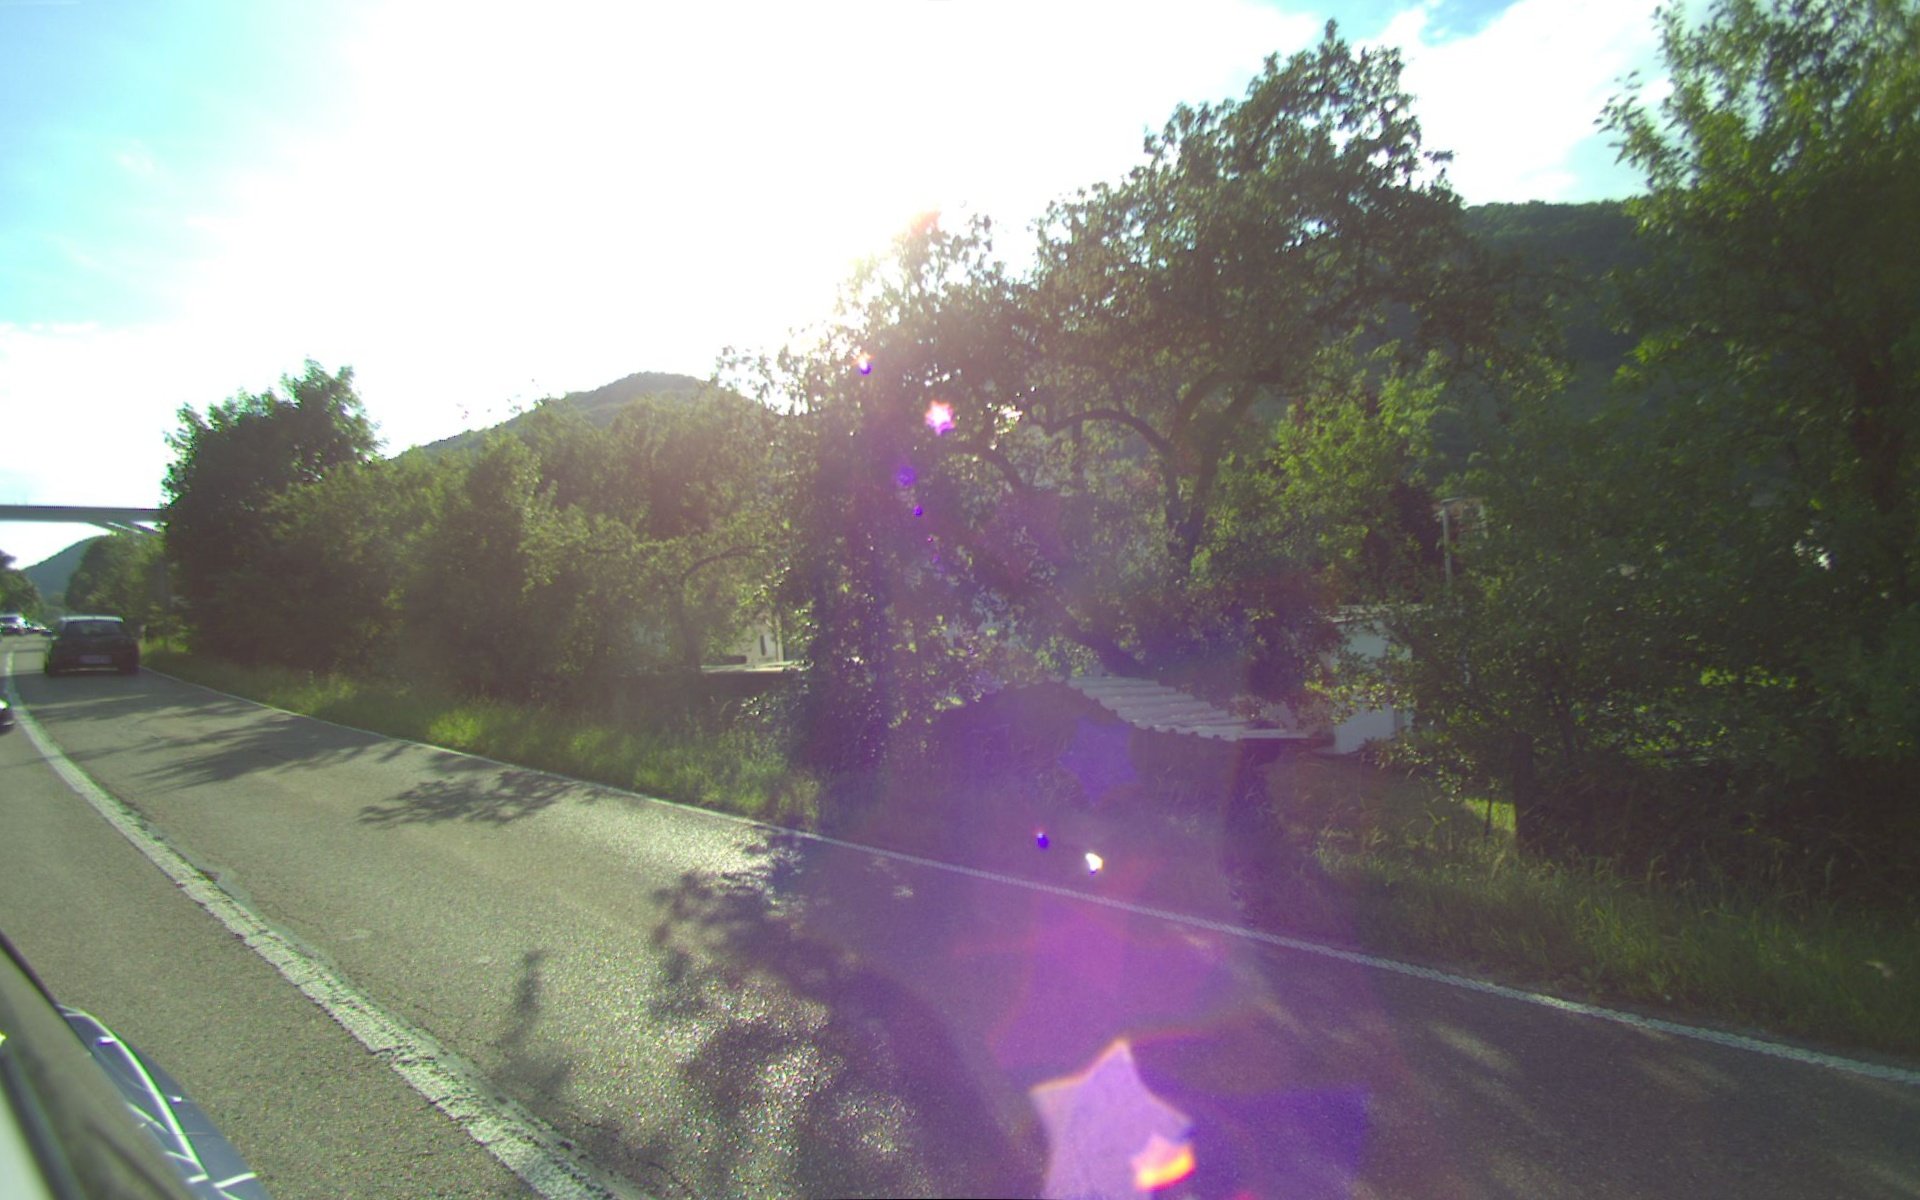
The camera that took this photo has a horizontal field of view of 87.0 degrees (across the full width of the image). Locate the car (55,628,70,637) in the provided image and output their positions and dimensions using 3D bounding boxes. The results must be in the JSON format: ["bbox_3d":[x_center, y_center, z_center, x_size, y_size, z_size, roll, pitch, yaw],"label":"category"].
[{"bbox_3d":[-149.481,5.466,168.497,4.205,1.364,1.576,-1,0,45],"label":"car"}]

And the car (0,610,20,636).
[{"bbox_3d":[-75.659,1.823,79.967,1.970,2.029,4.004,-1,0,-43],"label":"car"}]

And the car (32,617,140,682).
[{"bbox_3d":[-22.090,1.185,25.535,4.051,1.441,1.685,-1,0,44],"label":"car"}]
